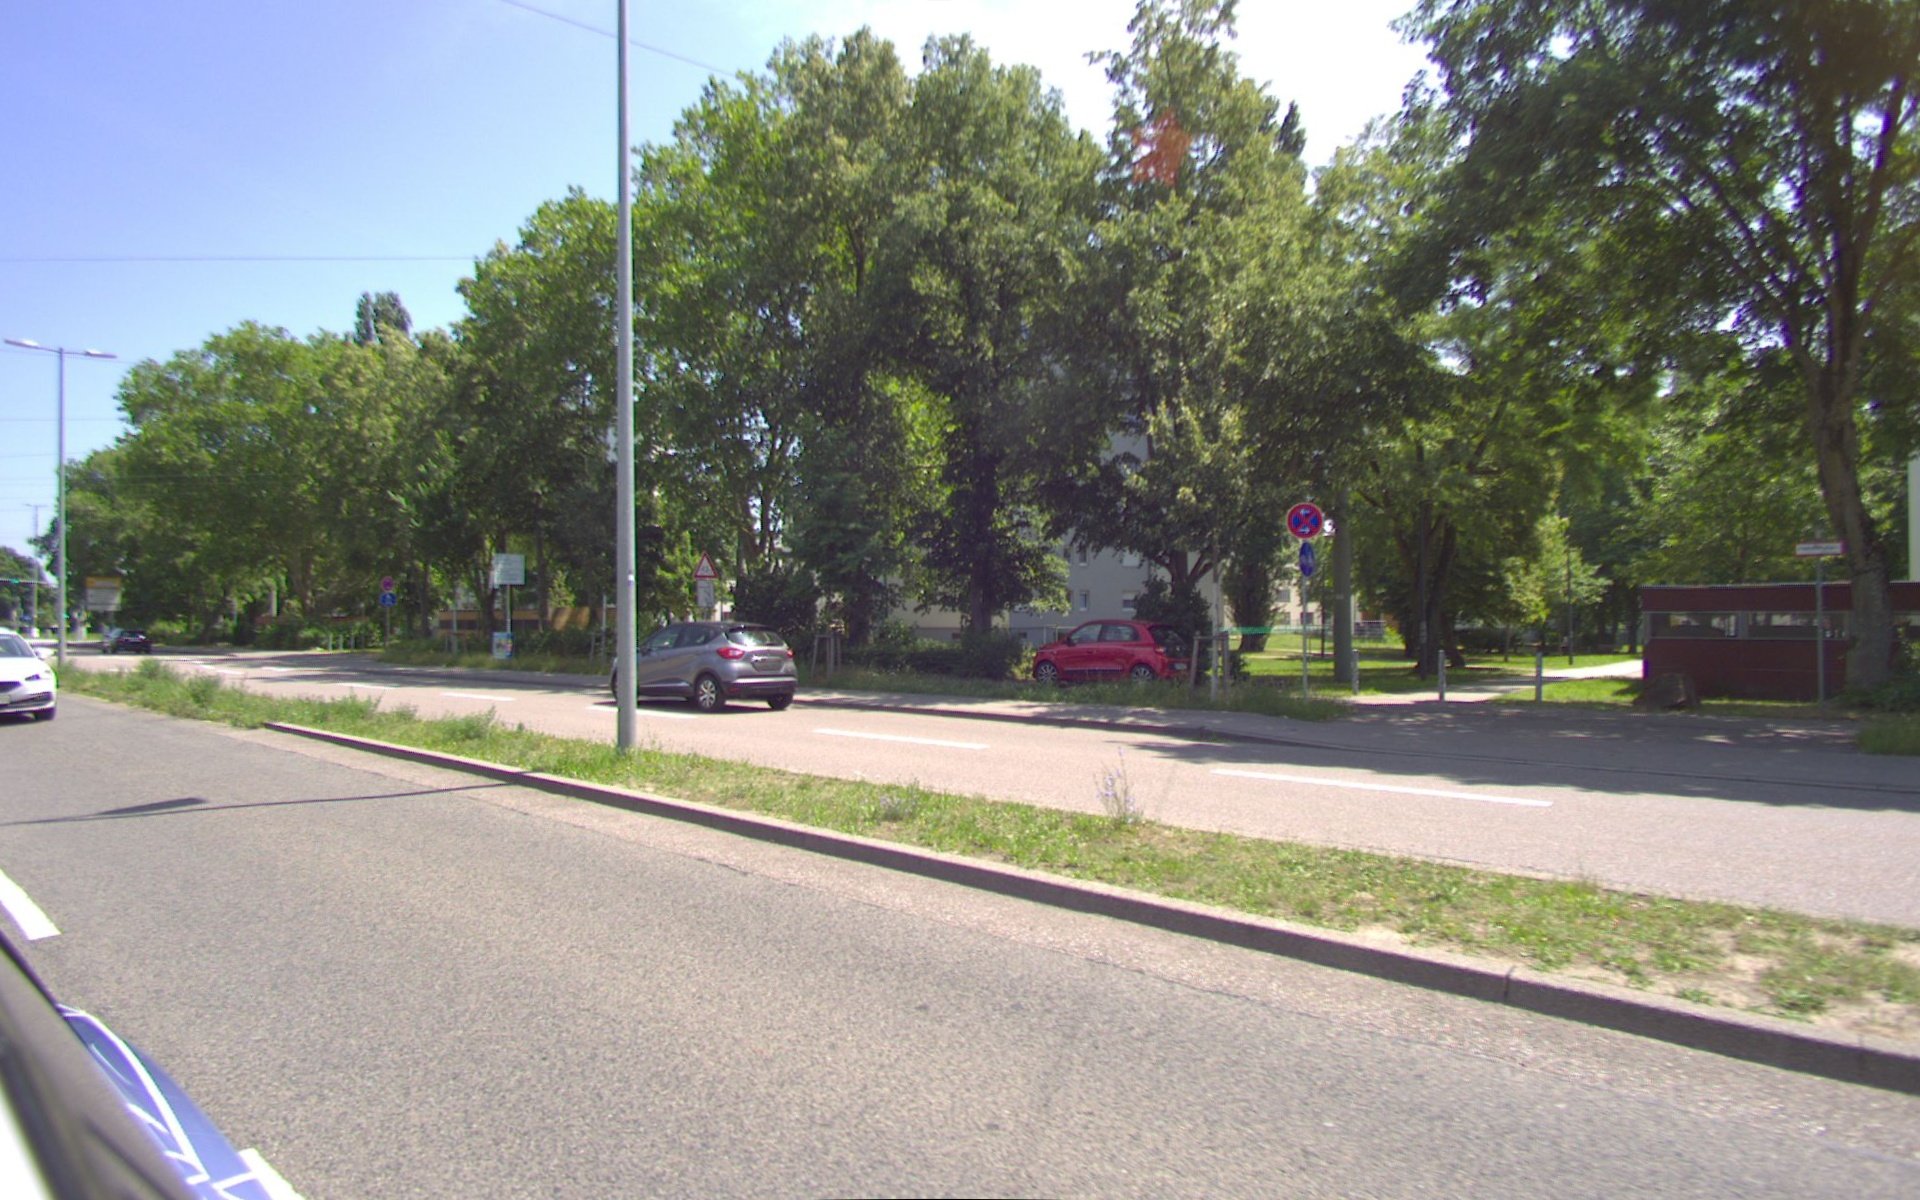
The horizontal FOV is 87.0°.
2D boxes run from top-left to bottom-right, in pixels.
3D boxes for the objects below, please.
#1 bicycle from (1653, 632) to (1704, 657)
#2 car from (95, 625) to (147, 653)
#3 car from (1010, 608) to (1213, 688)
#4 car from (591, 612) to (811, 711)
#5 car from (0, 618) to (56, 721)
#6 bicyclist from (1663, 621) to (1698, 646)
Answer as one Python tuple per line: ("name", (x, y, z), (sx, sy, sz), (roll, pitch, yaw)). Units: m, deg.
("bicycle", (36.808, 2.263, 51.825), (2.963, 1.254, 0.941), (1, -2, -30))
("car", (-48.252, 2.218, 58.150), (4.635, 1.520, 1.721), (-1, -3, 43))
("car", (3.267, 1.014, 22.254), (3.997, 1.597, 1.973), (-1, -2, 40))
("car", (-4.769, 1.060, 18.390), (4.079, 1.566, 1.750), (0, -3, 39))
("car", (-15.647, 1.051, 15.773), (4.108, 1.479, 1.750), (-1, 0, 40))
("bicyclist", (37.025, 1.711, 51.982), (1.752, 1.294, 0.768), (1, -2, -30))
